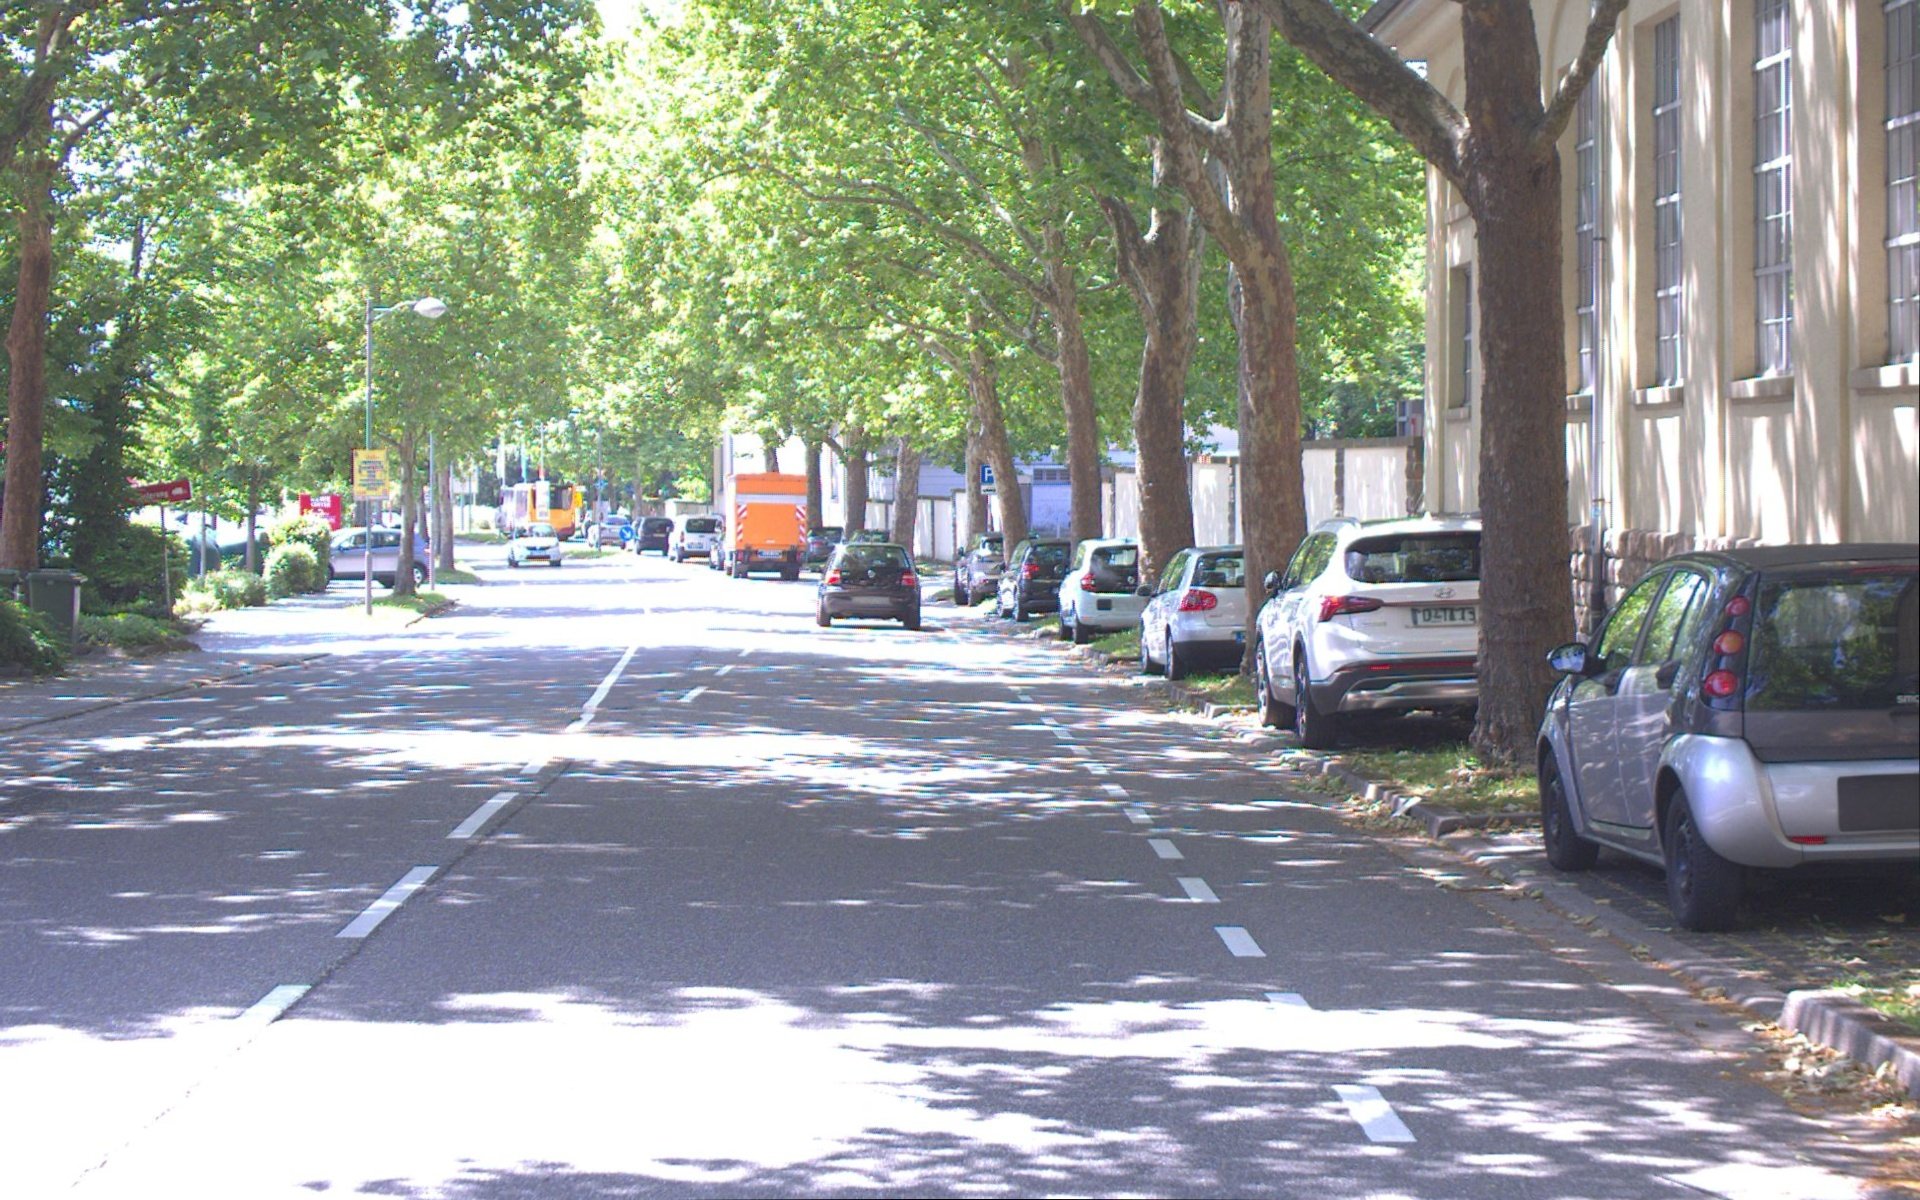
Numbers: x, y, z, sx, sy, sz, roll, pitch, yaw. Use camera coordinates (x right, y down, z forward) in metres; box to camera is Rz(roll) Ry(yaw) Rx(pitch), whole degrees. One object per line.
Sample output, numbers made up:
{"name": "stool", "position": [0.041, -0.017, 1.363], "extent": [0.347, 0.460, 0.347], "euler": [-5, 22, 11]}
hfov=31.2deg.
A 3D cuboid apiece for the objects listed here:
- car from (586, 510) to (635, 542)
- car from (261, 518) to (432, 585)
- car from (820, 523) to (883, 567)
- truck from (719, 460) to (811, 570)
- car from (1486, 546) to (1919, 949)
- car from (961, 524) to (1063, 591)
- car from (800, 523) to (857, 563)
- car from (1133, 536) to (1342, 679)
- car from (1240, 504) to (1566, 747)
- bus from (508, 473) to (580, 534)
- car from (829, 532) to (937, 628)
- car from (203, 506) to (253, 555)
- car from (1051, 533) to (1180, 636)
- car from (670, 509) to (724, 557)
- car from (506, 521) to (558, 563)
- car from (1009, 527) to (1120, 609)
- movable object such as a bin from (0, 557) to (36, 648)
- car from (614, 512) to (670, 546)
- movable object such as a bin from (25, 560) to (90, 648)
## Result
{"name": "car", "position": [-16.054, -3.391, 157.789], "extent": [1.766, 1.369, 3.731], "euler": [-1, 1, -13]}
{"name": "car", "position": [-16.066, -1.250, 90.116], "extent": [1.999, 1.660, 3.989], "euler": [0, 0, 44]}
{"name": "car", "position": [-3.487, -1.769, 110.229], "extent": [1.766, 1.369, 3.730], "euler": [1, 1, -6]}
{"name": "truck", "position": [-5.900, -2.514, 103.488], "extent": [2.370, 3.123, 5.770], "euler": [0, 0, -7]}
{"name": "car", "position": [3.457, 0.503, 14.770], "extent": [1.621, 1.435, 4.433], "euler": [-1, 1, -1]}
{"name": "car", "position": [1.093, -0.921, 73.908], "extent": [1.766, 1.369, 3.730], "euler": [-1, 1, -6]}
{"name": "car", "position": [-4.698, -2.027, 122.225], "extent": [1.766, 1.369, 3.730], "euler": [-1, 1, -6]}
{"name": "car", "position": [2.950, 0.040, 37.247], "extent": [1.766, 1.428, 3.876], "euler": [-1, 1, -2]}
{"name": "car", "position": [3.328, 0.139, 26.678], "extent": [1.808, 1.683, 4.752], "euler": [-1, 1, -1]}
{"name": "bus", "position": [-22.786, -5.231, 187.821], "extent": [2.663, 3.140, 11.201], "euler": [0, 1, -13]}
{"name": "car", "position": [-1.342, -0.367, 58.265], "extent": [1.711, 1.442, 4.059], "euler": [0, 3, -3]}
{"name": "car", "position": [-31.608, -2.970, 148.372], "extent": [1.993, 2.007, 4.001], "euler": [0, 0, -14]}
{"name": "car", "position": [2.306, -0.254, 51.777], "extent": [1.577, 1.461, 3.876], "euler": [-1, 1, -2]}
{"name": "car", "position": [-9.757, -2.486, 127.459], "extent": [1.879, 1.680, 4.001], "euler": [0, 0, -6]}
{"name": "car", "position": [-15.113, -2.052, 121.554], "extent": [1.710, 1.442, 4.059], "euler": [-1, 1, -6]}
{"name": "car", "position": [1.931, -0.612, 64.294], "extent": [1.766, 1.461, 3.876], "euler": [-1, 1, -2]}
{"name": "movable object such as a bin", "position": [-11.494, 0.027, 41.056], "extent": [0.734, 1.074, 0.701], "euler": [0, 1, -1]}
{"name": "car", "position": [-13.186, -2.927, 142.311], "extent": [1.766, 1.369, 3.731], "euler": [-1, 1, -14]}
{"name": "movable object such as a bin", "position": [-10.799, 0.045, 41.160], "extent": [0.623, 1.045, 0.620], "euler": [0, 1, -1]}
